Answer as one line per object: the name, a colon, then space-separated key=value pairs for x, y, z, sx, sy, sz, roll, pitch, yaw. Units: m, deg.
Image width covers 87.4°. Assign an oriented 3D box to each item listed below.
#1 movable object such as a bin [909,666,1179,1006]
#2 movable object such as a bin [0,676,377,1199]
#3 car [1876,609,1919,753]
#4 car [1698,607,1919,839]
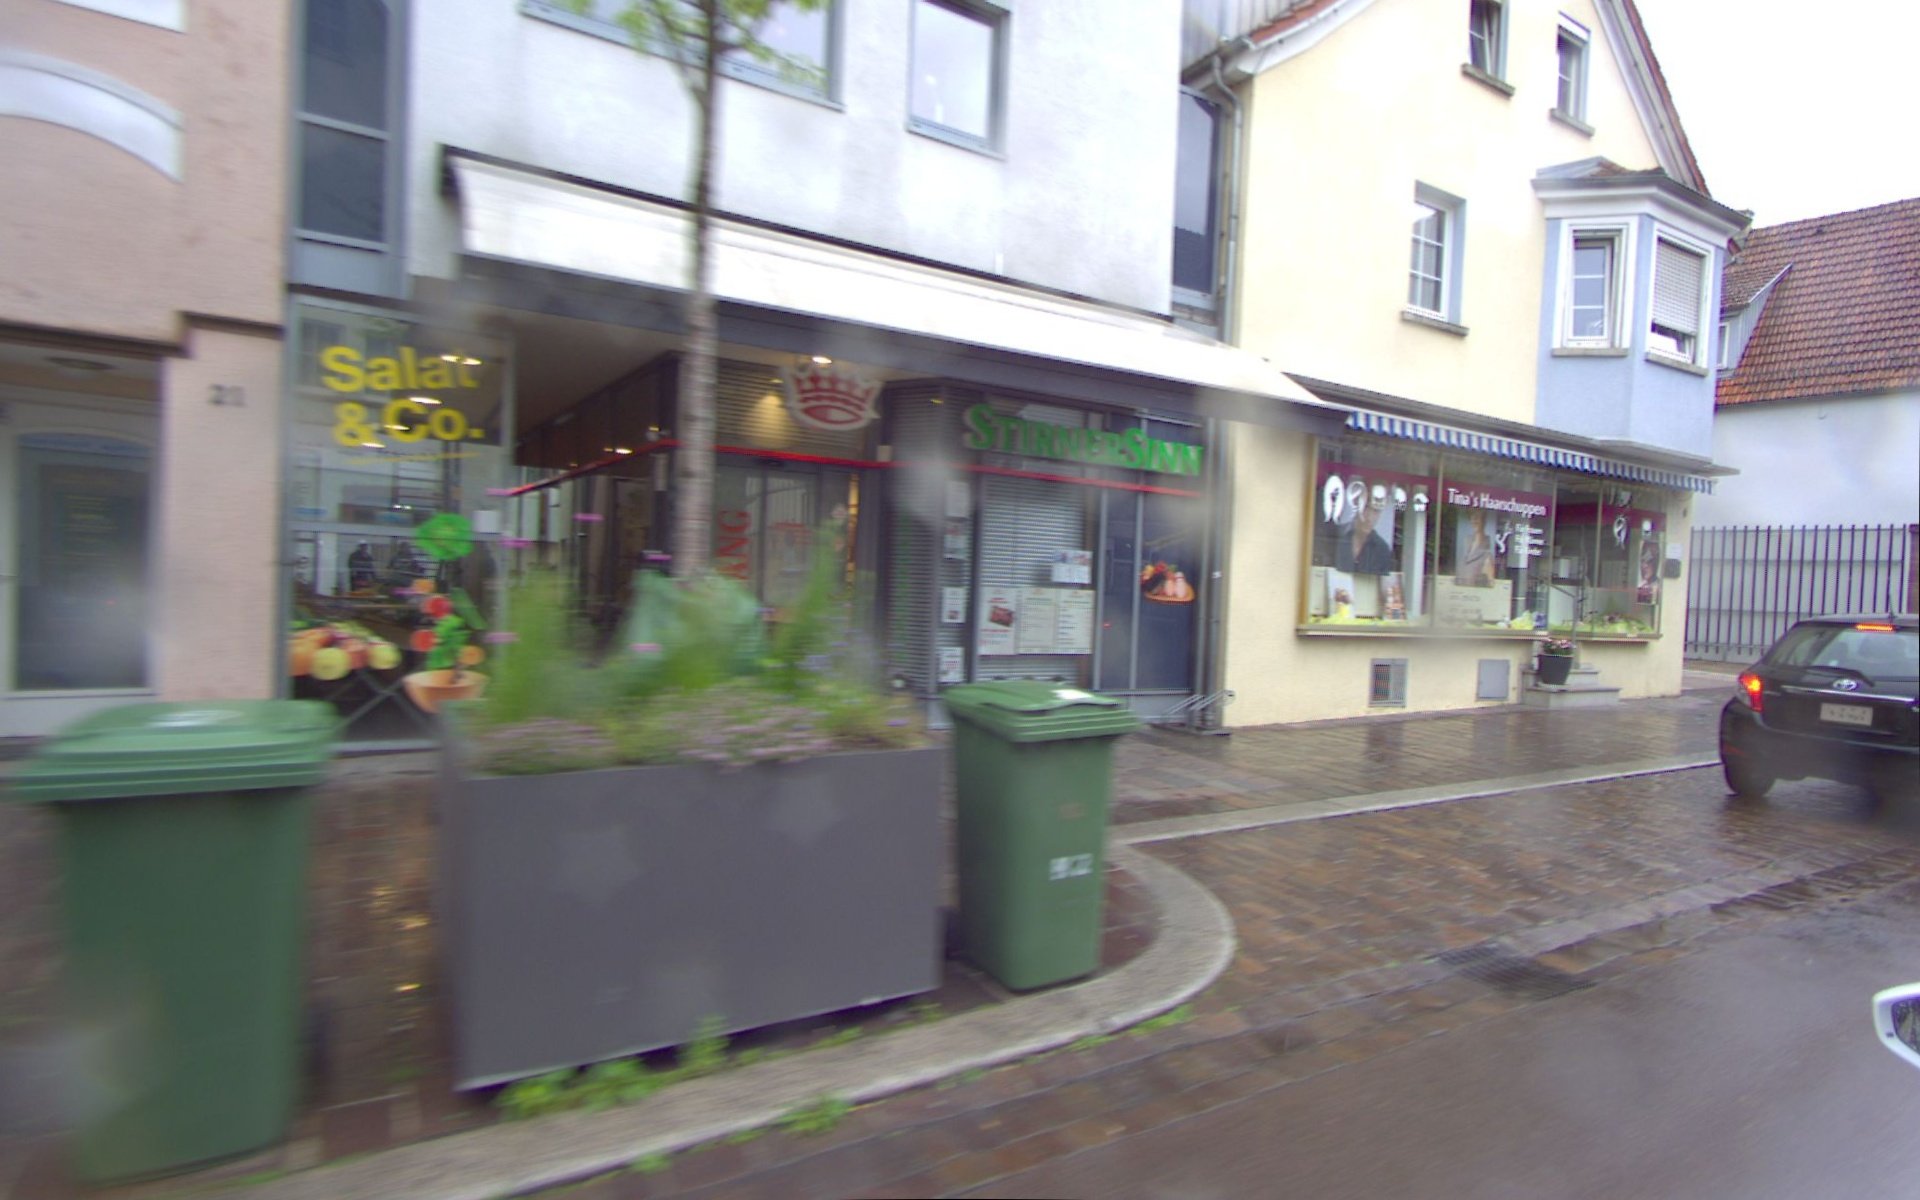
movable object such as a bin: x=0.300 y=0.824 z=3.827 sx=0.695 sy=1.066 sz=0.706 roll=3 pitch=2 yaw=-29
movable object such as a bin: x=-1.916 y=0.800 z=2.568 sx=0.684 sy=1.099 sz=0.783 roll=0 pitch=3 yaw=-27
car: x=11.977 y=0.895 z=11.296 sx=3.907 sy=1.494 sz=1.743 roll=0 pitch=3 yaw=-37
car: x=7.812 y=0.837 z=7.964 sx=3.837 sy=1.463 sz=1.684 roll=0 pitch=3 yaw=-29
